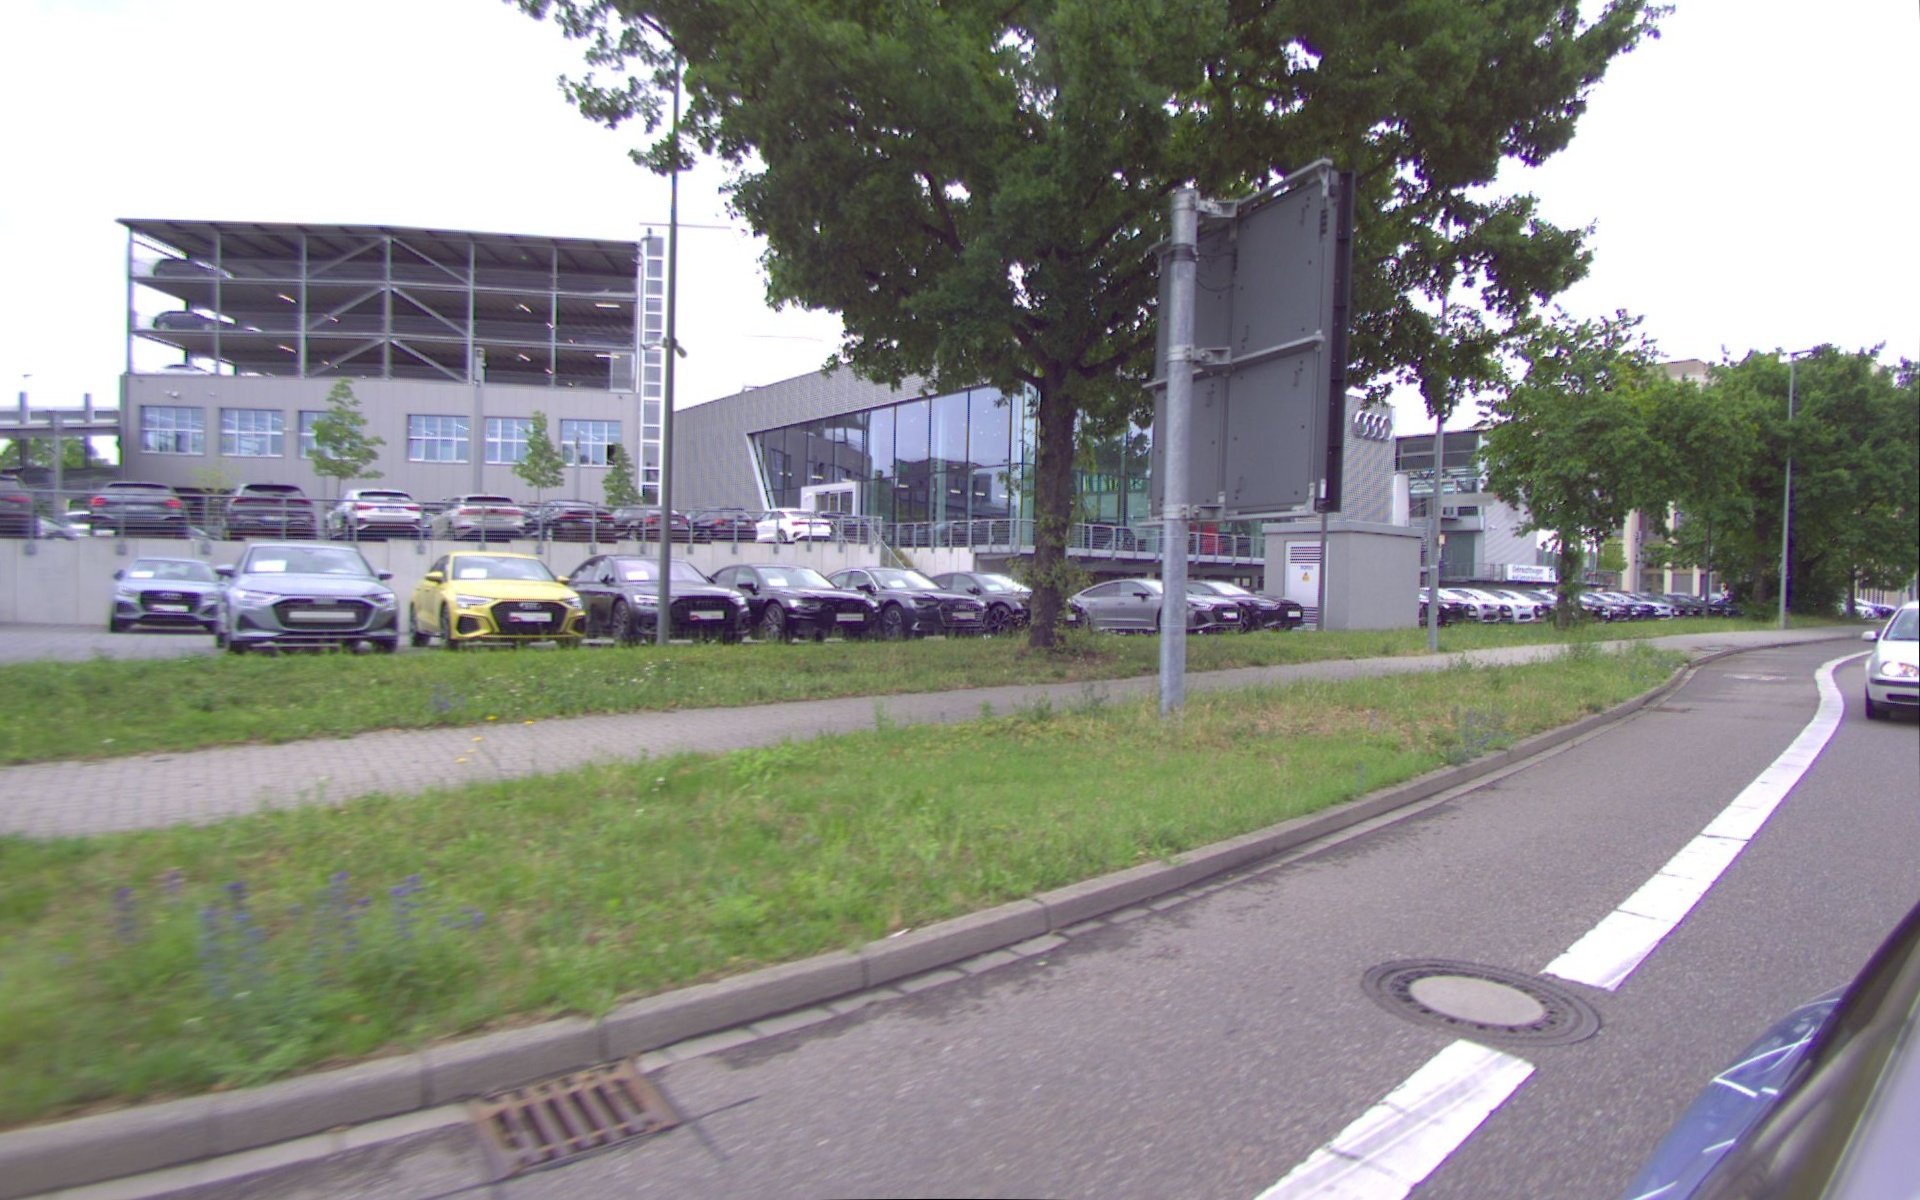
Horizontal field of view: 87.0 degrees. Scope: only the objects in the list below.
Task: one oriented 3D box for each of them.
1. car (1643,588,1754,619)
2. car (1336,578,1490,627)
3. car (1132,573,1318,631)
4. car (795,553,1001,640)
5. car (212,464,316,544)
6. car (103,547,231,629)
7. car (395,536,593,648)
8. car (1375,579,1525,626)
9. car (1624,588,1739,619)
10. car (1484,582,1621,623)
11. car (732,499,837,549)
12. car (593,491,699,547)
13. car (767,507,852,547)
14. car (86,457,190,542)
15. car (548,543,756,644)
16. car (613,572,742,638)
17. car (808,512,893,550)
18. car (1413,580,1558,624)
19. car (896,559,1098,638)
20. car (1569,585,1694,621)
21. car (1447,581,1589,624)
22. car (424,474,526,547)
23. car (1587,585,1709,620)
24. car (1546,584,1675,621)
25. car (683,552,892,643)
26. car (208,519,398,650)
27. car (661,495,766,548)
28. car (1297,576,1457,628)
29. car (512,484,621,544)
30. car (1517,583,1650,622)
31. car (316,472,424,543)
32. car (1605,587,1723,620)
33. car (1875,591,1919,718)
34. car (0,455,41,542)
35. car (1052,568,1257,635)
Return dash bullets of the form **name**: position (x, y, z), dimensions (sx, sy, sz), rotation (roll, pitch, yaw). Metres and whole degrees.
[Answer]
- **car**: position (35.832, 0.182, 49.171), dimensions (1.696, 1.410, 4.039), rotation (0, -1, -38)
- **car**: position (13.954, 0.115, 31.370), dimensions (1.696, 1.410, 4.039), rotation (0, -1, -38)
- **car**: position (6.561, 0.090, 25.498), dimensions (1.830, 1.333, 4.307), rotation (0, -1, -38)
- **car**: position (-1.298, -0.016, 19.315), dimensions (1.810, 1.463, 4.307), rotation (0, -1, -38)
- **car**: position (-17.859, -2.369, 25.886), dimensions (1.800, 1.531, 4.305), rotation (1, -1, -40)
- **car**: position (-16.058, -0.180, 20.546), dimensions (1.867, 1.478, 3.915), rotation (0, -1, -38)
- **car**: position (-6.883, -0.058, 14.728), dimensions (1.762, 1.395, 4.055), rotation (0, -1, -38)
- **car**: position (15.824, 0.114, 32.834), dimensions (1.696, 1.410, 4.039), rotation (0, -1, -38)
- **car**: position (33.712, 0.187, 47.364), dimensions (1.696, 1.410, 4.039), rotation (0, -1, -38)
- **car**: position (21.881, 0.120, 37.501), dimensions (1.696, 1.410, 4.039), rotation (0, -1, -38)
- **car**: position (-6.352, -2.672, 36.328), dimensions (1.800, 1.381, 4.305), rotation (1, -1, -40)
- **car**: position (-10.271, -2.583, 32.915), dimensions (1.800, 1.381, 4.305), rotation (1, -1, -40)
- **car**: position (-6.734, -3.215, 44.971), dimensions (1.800, 1.381, 4.305), rotation (1, -1, -40)
- **car**: position (-19.852, -2.332, 24.432), dimensions (1.800, 1.545, 4.305), rotation (1, -1, -40)
- **car**: position (-4.995, -0.052, 16.003), dimensions (1.707, 1.375, 4.307), rotation (0, -1, -38)
- **car**: position (-7.692, 0.163, 27.338), dimensions (1.867, 1.622, 4.307), rotation (0, -1, -38)
- **car**: position (-5.070, -3.116, 46.366), dimensions (1.800, 1.381, 4.305), rotation (1, -1, -40)
- **car**: position (17.768, 0.113, 34.382), dimensions (1.696, 1.410, 4.039), rotation (0, -1, -38)
- **car**: position (0.640, 0.015, 20.851), dimensions (1.810, 1.463, 4.307), rotation (0, -1, -38)
- **car**: position (28.014, 0.142, 42.308), dimensions (1.696, 1.410, 4.039), rotation (0, -1, -38)
- **car**: position (19.626, 0.118, 35.739), dimensions (1.696, 1.410, 4.039), rotation (0, -1, -38)
- **car**: position (-14.018, -2.483, 29.132), dimensions (1.860, 1.612, 4.309), rotation (0, -1, -37)
- **car**: position (29.695, 0.145, 43.764), dimensions (1.696, 1.410, 4.039), rotation (0, -1, -38)
- **car**: position (26.106, 0.128, 40.743), dimensions (1.696, 1.410, 4.039), rotation (0, -1, -38)
- **car**: position (-3.160, -0.001, 17.809), dimensions (1.805, 1.396, 4.307), rotation (0, -1, -38)
- **car**: position (-8.747, -0.132, 13.320), dimensions (1.707, 1.450, 4.197), rotation (0, -1, -38)
- **car**: position (-8.510, -2.623, 34.657), dimensions (1.800, 1.381, 4.305), rotation (1, -1, -40)
- **car**: position (12.180, 0.091, 29.782), dimensions (1.696, 1.410, 4.039), rotation (0, -1, -38)
- **car**: position (-12.036, -2.551, 30.809), dimensions (1.800, 1.381, 4.305), rotation (1, -1, -40)
- **car**: position (24.034, 0.123, 39.122), dimensions (1.696, 1.410, 4.039), rotation (0, -1, -38)
- **car**: position (-16.093, -2.435, 27.522), dimensions (1.832, 1.451, 4.305), rotation (1, -1, -40)
- **car**: position (31.749, 0.169, 45.720), dimensions (1.696, 1.410, 4.039), rotation (0, -1, -38)
- **car**: position (12.561, 0.627, 12.483), dimensions (1.722, 1.442, 3.877), rotation (1, 0, 45)
- **car**: position (-21.988, -2.243, 22.713), dimensions (1.826, 1.547, 4.305), rotation (1, -1, -40)
- **car**: position (4.517, 0.077, 24.224), dimensions (1.867, 1.442, 4.761), rotation (0, -1, -38)
